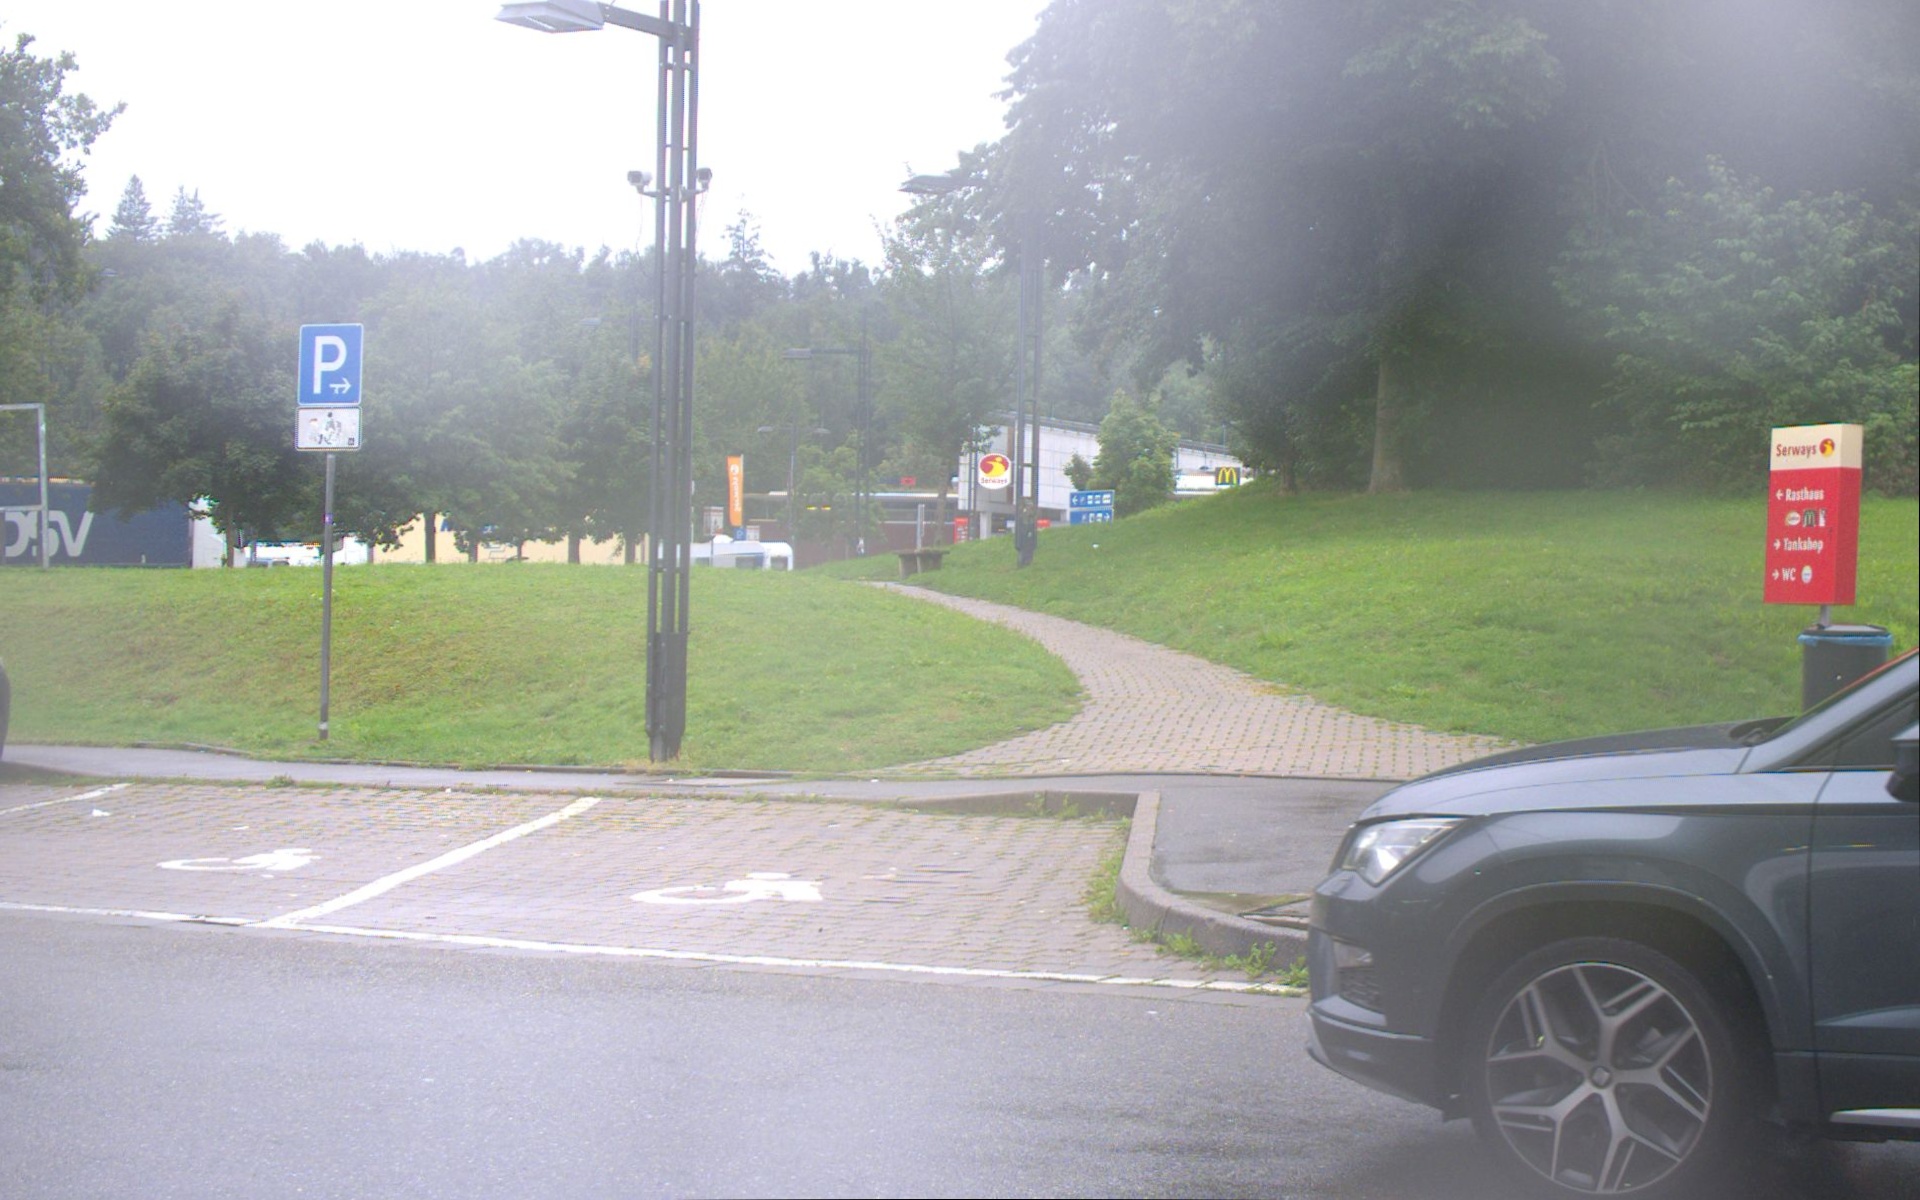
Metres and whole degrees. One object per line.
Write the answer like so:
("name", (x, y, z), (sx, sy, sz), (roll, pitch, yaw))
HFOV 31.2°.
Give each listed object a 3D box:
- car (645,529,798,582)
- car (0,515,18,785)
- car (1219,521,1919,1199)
("car", (-9.275, -1.734, 133.766), (5.429, 2.007, 2.453), (1, 1, 20))
("car", (-7.774, 0.374, 21.438), (1.885, 1.821, 4.411), (0, 1, 11))
("car", (2.955, 0.631, 7.965), (4.317, 1.582, 1.888), (1, 1, 22))
